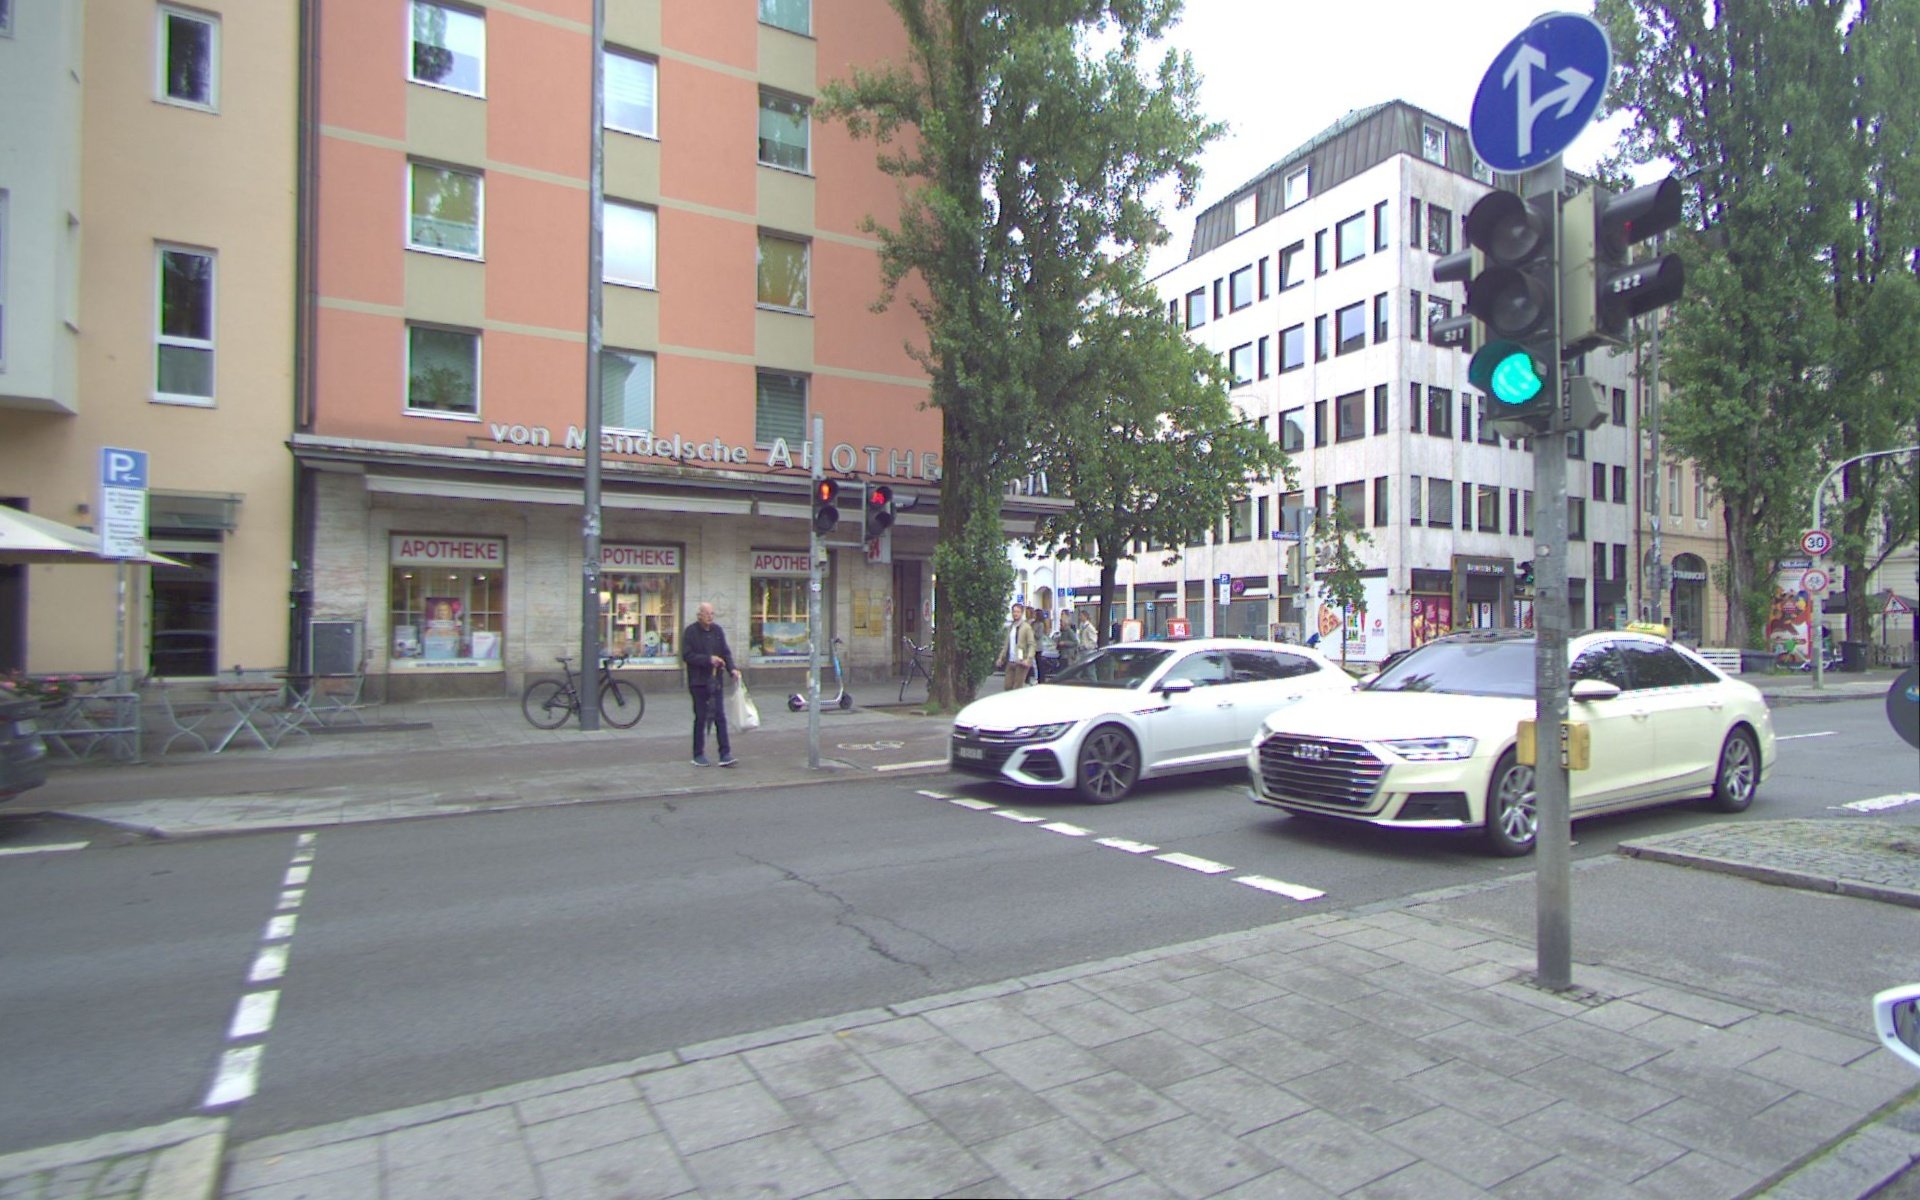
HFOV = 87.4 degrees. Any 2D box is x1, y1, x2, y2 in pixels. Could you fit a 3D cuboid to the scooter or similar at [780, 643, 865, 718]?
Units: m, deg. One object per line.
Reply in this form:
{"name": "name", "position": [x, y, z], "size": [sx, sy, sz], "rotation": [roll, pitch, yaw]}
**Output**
{"name": "scooter or similar", "position": [-2.303, 1.326, 16.869], "size": [1.390, 1.189, 0.404], "rotation": [1, -1, -35]}

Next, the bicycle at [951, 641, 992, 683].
{"name": "bicycle", "position": [0.351, 1.941, 31.637], "size": [0.530, 1.200, 2.052], "rotation": [1, 0, -22]}

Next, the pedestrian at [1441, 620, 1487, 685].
{"name": "pedestrian", "position": [13.939, 1.438, 27.783], "size": [0.931, 1.763, 0.723], "rotation": [1, 0, -31]}

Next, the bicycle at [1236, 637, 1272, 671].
{"name": "bicycle", "position": [11.113, 2.022, 37.926], "size": [0.444, 1.199, 2.051], "rotation": [-1, -2, 43]}

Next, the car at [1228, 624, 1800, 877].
{"name": "car", "position": [4.625, 0.972, 8.149], "size": [4.928, 1.521, 1.835], "rotation": [1, -2, -31]}

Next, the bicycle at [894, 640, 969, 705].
{"name": "bicycle", "position": [-0.524, 1.330, 18.744], "size": [1.357, 1.156, 0.419], "rotation": [1, -1, -30]}

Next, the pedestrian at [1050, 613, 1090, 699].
{"name": "pedestrian", "position": [2.188, 1.102, 19.988], "size": [0.618, 1.692, 0.505], "rotation": [1, -1, -29]}

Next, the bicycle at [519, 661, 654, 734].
{"name": "bicycle", "position": [-5.302, 1.385, 14.308], "size": [1.777, 0.999, 0.330], "rotation": [0, -1, -5]}

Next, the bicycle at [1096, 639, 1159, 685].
{"name": "bicycle", "position": [4.607, 1.677, 27.561], "size": [2.044, 1.199, 0.412], "rotation": [1, -2, -37]}

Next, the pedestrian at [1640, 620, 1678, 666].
{"name": "pedestrian", "position": [24.365, 1.493, 35.014], "size": [0.977, 1.588, 0.747], "rotation": [1, -1, -29]}

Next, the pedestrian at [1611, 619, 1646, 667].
{"name": "pedestrian", "position": [24.526, 1.568, 36.843], "size": [0.966, 1.704, 0.728], "rotation": [1, 0, -30]}

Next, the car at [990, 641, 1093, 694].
{"name": "car", "position": [2.553, 2.127, 32.386], "size": [1.755, 1.439, 3.980], "rotation": [1, 0, -21]}

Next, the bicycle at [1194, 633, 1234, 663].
{"name": "bicycle", "position": [9.412, 1.765, 37.296], "size": [0.410, 1.061, 2.055], "rotation": [0, -1, -19]}

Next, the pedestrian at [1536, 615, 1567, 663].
{"name": "pedestrian", "position": [22.647, 1.495, 38.450], "size": [0.810, 1.811, 0.696], "rotation": [1, -1, -29]}

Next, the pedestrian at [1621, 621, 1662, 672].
{"name": "pedestrian", "position": [22.021, 1.490, 32.475], "size": [0.924, 1.640, 0.774], "rotation": [1, -1, -31]}

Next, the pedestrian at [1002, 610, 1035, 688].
{"name": "pedestrian", "position": [1.320, 1.094, 22.572], "size": [0.508, 1.713, 0.583], "rotation": [1, -1, -30]}

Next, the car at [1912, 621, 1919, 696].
{"name": "car", "position": [24.725, 1.359, 23.878], "size": [4.581, 1.738, 1.829], "rotation": [1, -2, -30]}

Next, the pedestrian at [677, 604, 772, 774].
{"name": "pedestrian", "position": [-2.614, 0.965, 11.215], "size": [0.975, 1.819, 0.736], "rotation": [1, 0, -12]}

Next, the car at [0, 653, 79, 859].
{"name": "car", "position": [-9.076, 1.096, 6.704], "size": [4.540, 1.457, 1.694], "rotation": [1, -3, -32]}

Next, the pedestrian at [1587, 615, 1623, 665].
{"name": "pedestrian", "position": [24.125, 1.475, 37.559], "size": [0.901, 1.811, 0.796], "rotation": [1, 0, -30]}

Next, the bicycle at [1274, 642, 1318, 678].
{"name": "bicycle", "position": [11.877, 2.113, 35.485], "size": [2.014, 1.199, 0.412], "rotation": [1, -2, -37]}

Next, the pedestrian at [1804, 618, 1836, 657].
{"name": "pedestrian", "position": [39.507, 1.704, 46.146], "size": [0.943, 1.767, 0.840], "rotation": [1, 0, -29]}

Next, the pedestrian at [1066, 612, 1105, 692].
{"name": "pedestrian", "position": [2.584, 1.060, 20.703], "size": [0.541, 1.604, 0.654], "rotation": [1, -1, -29]}

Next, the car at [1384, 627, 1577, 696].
{"name": "car", "position": [12.187, 1.384, 23.709], "size": [1.755, 1.494, 3.667], "rotation": [1, -2, -36]}

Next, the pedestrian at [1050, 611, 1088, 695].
{"name": "pedestrian", "position": [2.316, 1.115, 21.350], "size": [0.541, 1.751, 0.654], "rotation": [1, -1, -29]}

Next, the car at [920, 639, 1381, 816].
{"name": "car", "position": [2.023, 1.123, 10.204], "size": [4.579, 1.426, 1.814], "rotation": [1, -2, -31]}

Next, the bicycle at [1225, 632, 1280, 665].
{"name": "bicycle", "position": [10.784, 1.789, 37.004], "size": [2.028, 1.200, 0.415], "rotation": [0, -1, -14]}

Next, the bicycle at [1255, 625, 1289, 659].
{"name": "bicycle", "position": [11.199, 1.496, 36.042], "size": [0.410, 1.199, 1.999], "rotation": [-1, -2, 40]}

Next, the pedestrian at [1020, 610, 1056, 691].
{"name": "pedestrian", "position": [1.697, 1.088, 21.883], "size": [0.513, 1.711, 0.627], "rotation": [1, 0, -29]}
